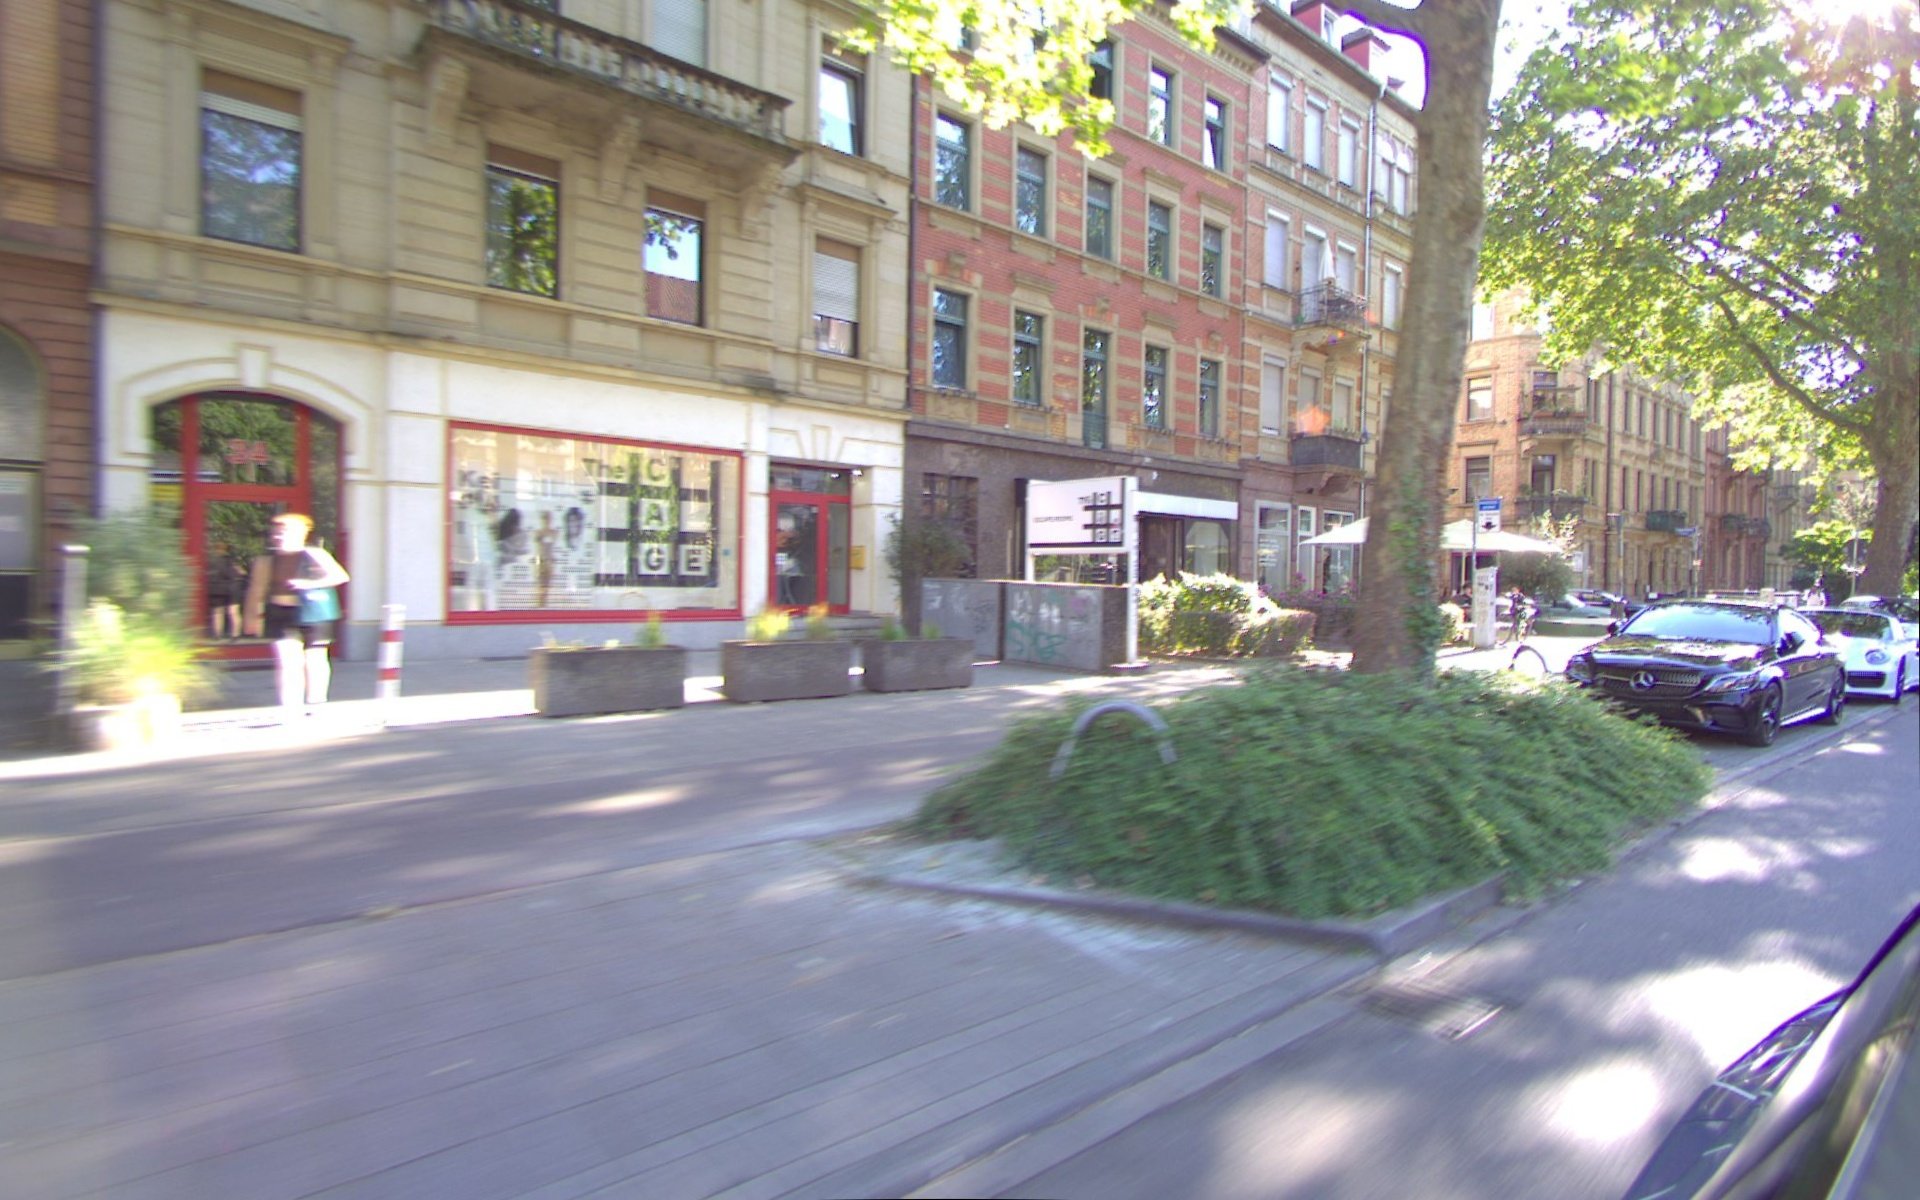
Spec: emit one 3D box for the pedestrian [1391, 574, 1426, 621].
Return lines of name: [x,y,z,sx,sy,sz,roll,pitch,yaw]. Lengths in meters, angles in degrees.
pedestrian: [12.701,-0.074,28.675,0.702,1.316,0.662,0,1,-41]

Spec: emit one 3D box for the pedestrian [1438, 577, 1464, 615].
pedestrian: [15.011,-0.137,30.928,0.517,1.152,0.557,0,1,-41]

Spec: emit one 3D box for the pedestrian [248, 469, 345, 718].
pedestrian: [-5.740,-0.060,8.745,0.622,2.039,0.674,0,1,-40]

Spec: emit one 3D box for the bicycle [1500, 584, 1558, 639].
bicycle: [12.738,0.243,22.623,1.863,1.157,0.476,0,3,-41]

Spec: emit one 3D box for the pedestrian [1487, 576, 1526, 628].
pedestrian: [14.245,0.043,26.384,0.651,1.316,0.714,0,1,-41]

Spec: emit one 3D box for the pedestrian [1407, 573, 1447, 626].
pedestrian: [11.954,-0.018,25.899,0.651,1.316,0.714,0,1,-39]

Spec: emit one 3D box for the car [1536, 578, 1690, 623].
car: [24.549,-0.032,38.168,1.891,1.567,4.604,0,1,-45]

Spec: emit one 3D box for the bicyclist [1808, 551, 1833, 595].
bicyclist: [27.913,-0.868,32.833,0.633,1.398,0.543,1,-1,-42]

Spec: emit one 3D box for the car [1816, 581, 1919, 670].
car: [17.715,0.406,19.020,4.566,1.496,1.806,-1,1,-41]

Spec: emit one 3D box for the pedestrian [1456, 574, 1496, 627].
pedestrian: [13.294,0.004,26.094,0.651,1.316,0.714,0,1,-40]

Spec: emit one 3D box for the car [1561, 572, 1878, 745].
car: [8.575,0.488,11.260,4.718,1.556,1.736,-1,1,-39]

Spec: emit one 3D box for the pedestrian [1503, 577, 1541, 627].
pedestrian: [15.088,0.046,27.163,0.651,1.316,0.714,0,1,-41]

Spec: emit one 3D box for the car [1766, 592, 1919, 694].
car: [13.970,0.568,15.499,3.930,1.343,1.834,-1,1,-40]

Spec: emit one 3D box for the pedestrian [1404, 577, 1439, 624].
pedestrian: [13.265,0.001,29.102,0.651,1.316,0.714,0,1,-41]

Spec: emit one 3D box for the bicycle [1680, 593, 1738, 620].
bicycle: [27.511,0.218,37.203,1.688,0.928,0.594,2,1,39]

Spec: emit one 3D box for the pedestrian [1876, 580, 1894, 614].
pedestrian: [46.185,-0.158,50.540,0.606,1.648,0.531,1,2,-40]

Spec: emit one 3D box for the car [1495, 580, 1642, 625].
car: [20.790,0.075,34.671,1.713,1.382,3.992,2,0,-43]

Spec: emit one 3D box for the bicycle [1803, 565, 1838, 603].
bicycle: [27.933,-0.503,32.840,2.188,1.193,0.561,0,-1,-42]

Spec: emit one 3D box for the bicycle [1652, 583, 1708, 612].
bicycle: [30.214,-0.112,42.507,0.467,1.168,1.868,0,1,-36]
